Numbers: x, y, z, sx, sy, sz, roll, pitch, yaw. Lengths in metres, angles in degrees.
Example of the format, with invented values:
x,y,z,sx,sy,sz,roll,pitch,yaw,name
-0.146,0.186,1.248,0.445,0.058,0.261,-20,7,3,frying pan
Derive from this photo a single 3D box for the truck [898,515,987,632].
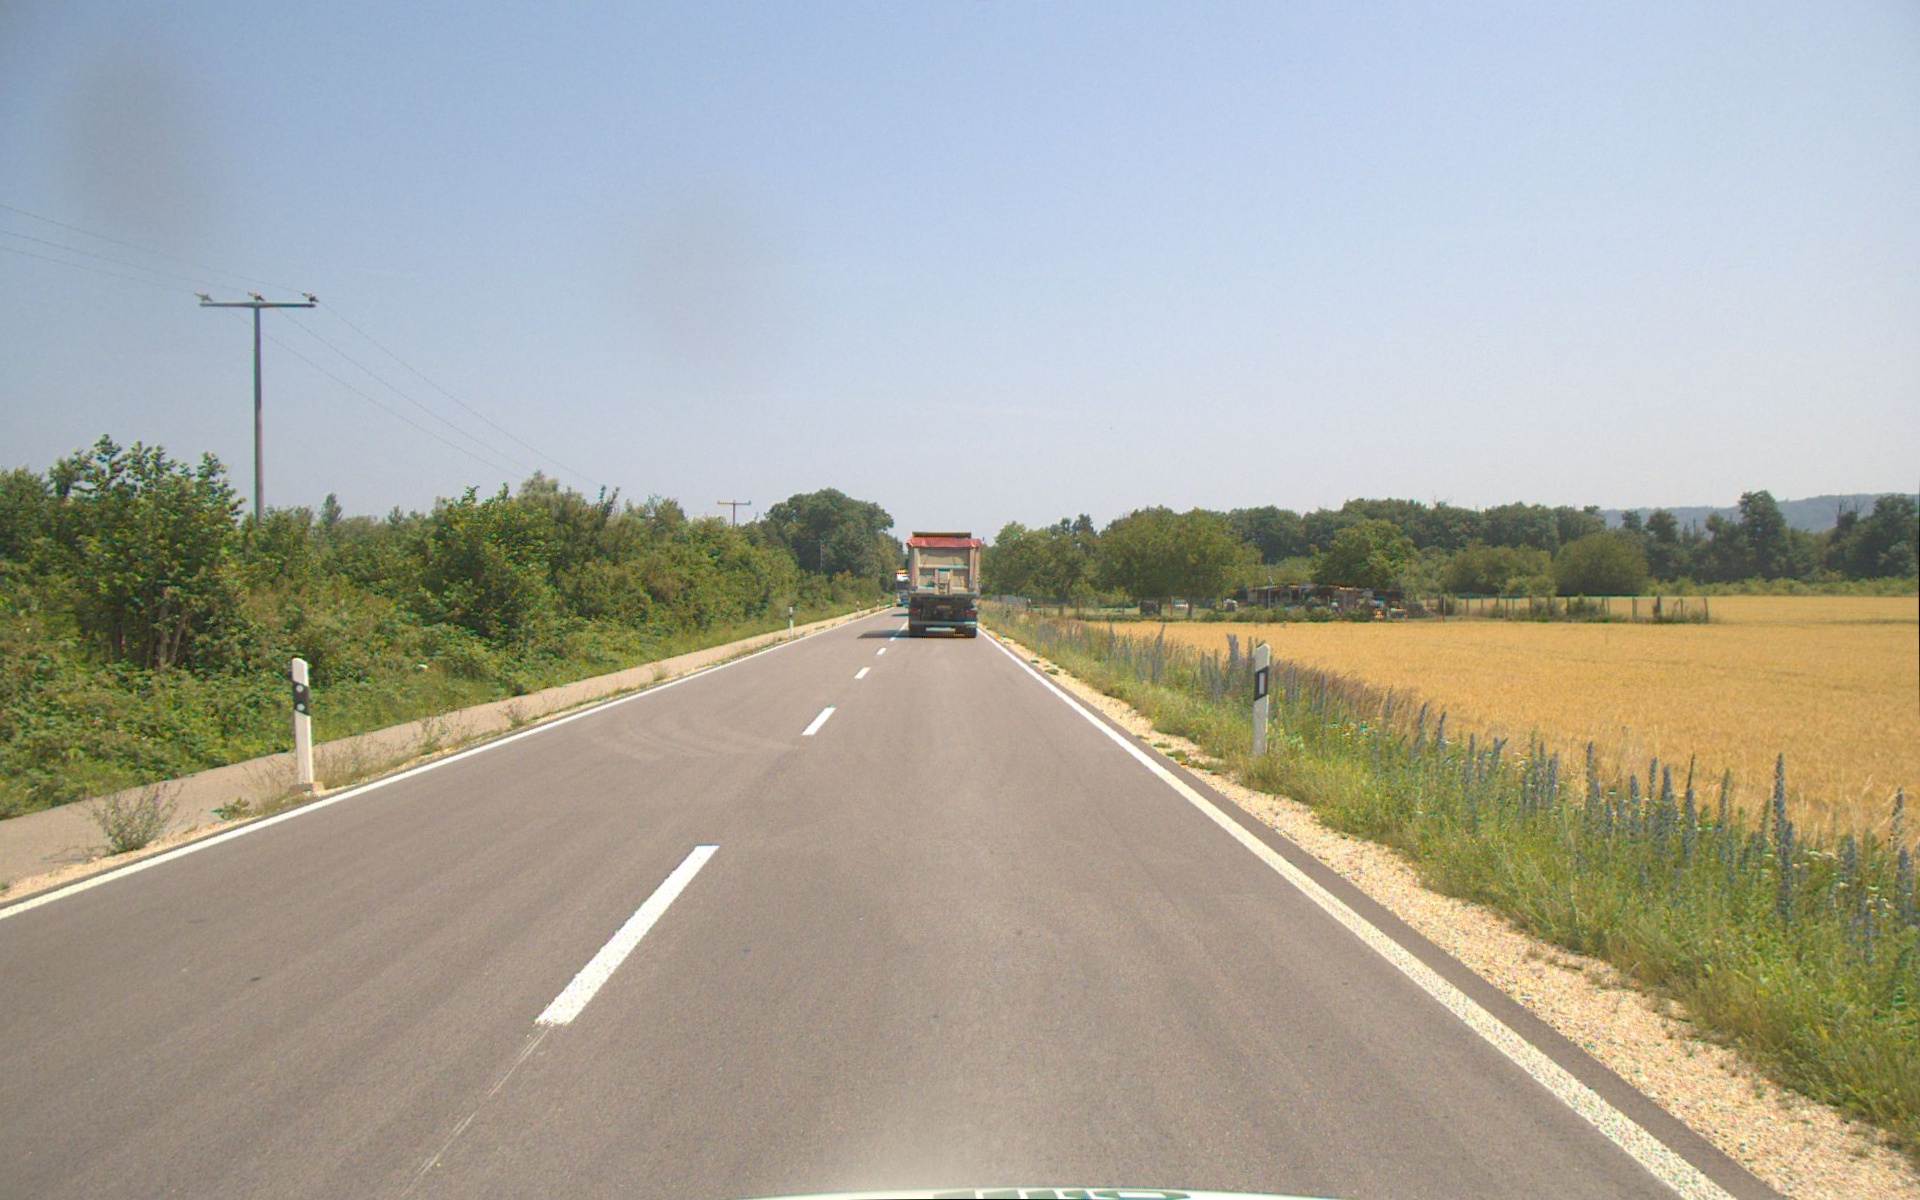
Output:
x,y,z,sx,sy,sz,roll,pitch,yaw,name
-0.707,-0.892,62.830,2.948,3.942,12.206,2,0,-1,truck

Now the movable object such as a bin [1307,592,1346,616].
x,y,z,sx,sy,sz,roll,pitch,yaw,name
24.531,0.259,110.747,1.540,1.522,3.655,0,0,-5,movable object such as a bin

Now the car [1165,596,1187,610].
x,y,z,sx,sy,sz,roll,pitch,yaw,name
23.863,0.297,183.090,1.563,1.512,3.421,0,1,-9,car

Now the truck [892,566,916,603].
x,y,z,sx,sy,sz,roll,pitch,yaw,name
-6.799,-1.865,202.016,2.662,4.340,7.388,-2,0,-1,truck
